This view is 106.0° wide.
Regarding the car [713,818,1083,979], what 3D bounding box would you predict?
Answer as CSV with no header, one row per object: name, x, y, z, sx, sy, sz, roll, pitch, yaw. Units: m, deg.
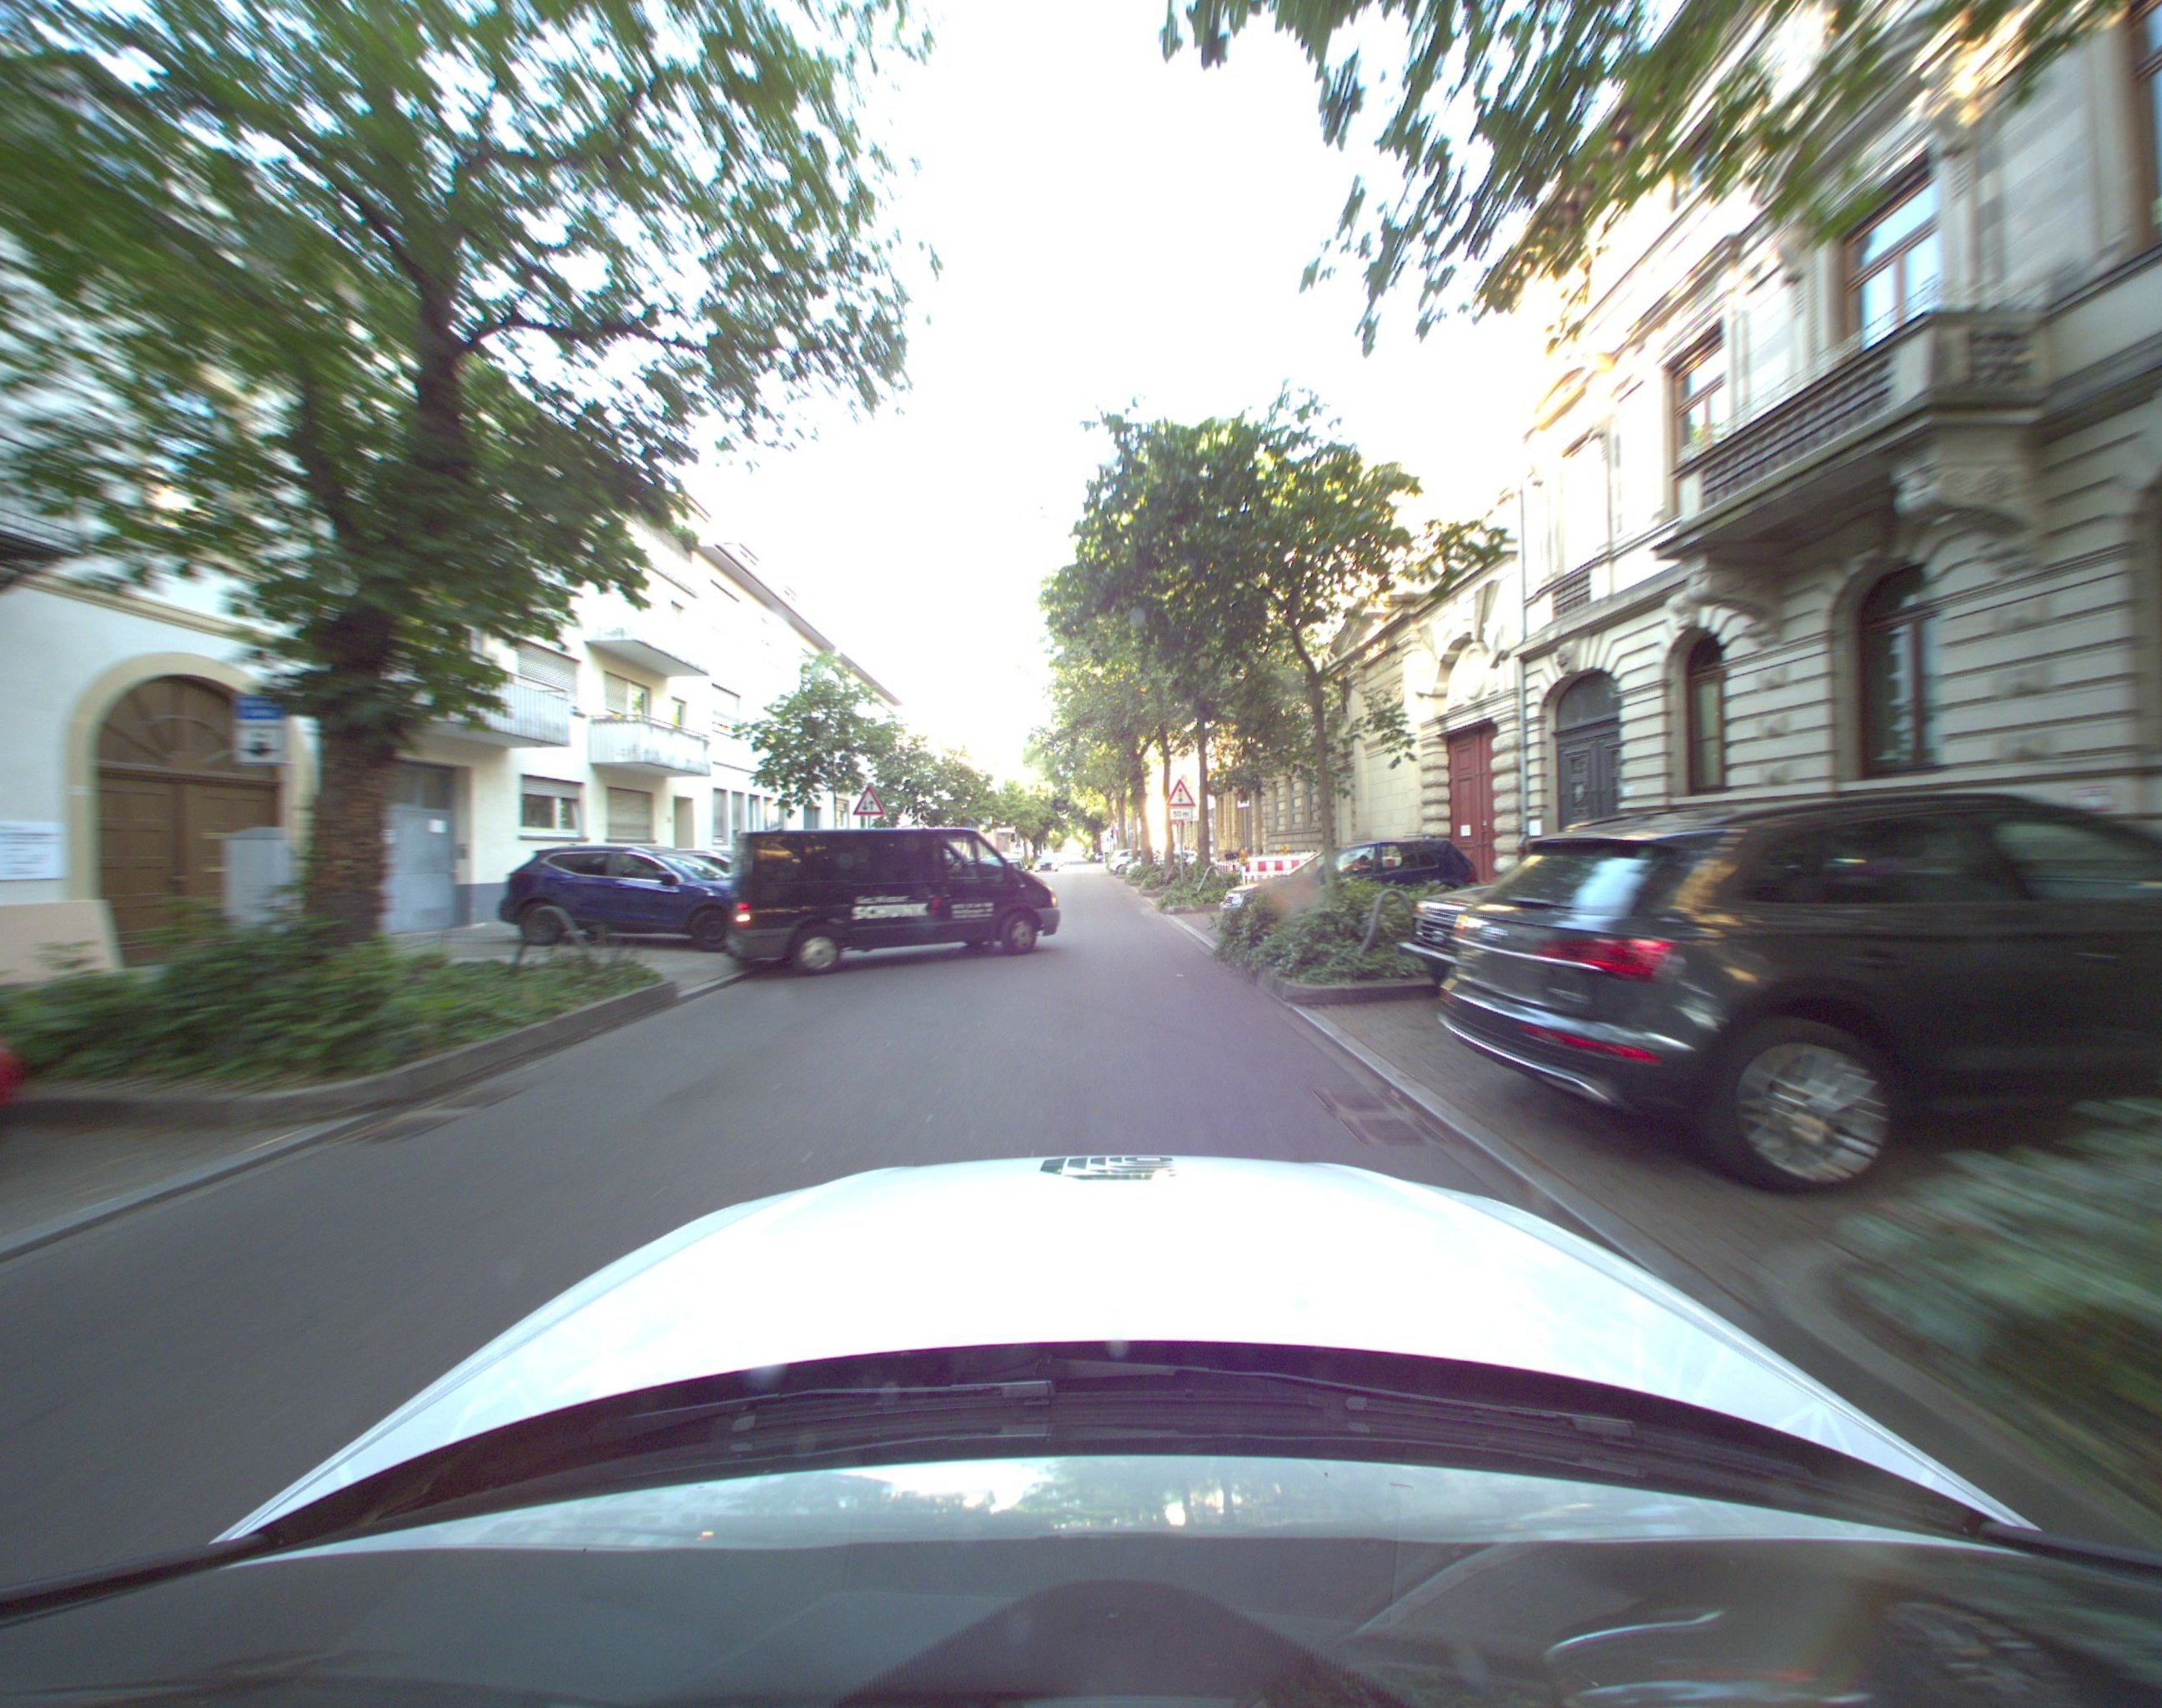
car,-2.695,0.501,12.273,5.020,1.990,2.169,-1,0,-29

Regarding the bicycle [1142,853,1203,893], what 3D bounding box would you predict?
bicycle,3.126,0.639,27.949,2.041,1.360,0.508,0,0,-3

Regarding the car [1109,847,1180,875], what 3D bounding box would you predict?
car,3.830,0.417,49.718,4.207,1.560,1.972,-2,1,2

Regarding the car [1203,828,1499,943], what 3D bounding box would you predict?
car,4.302,0.485,13.459,4.211,1.481,1.854,-4,0,-1

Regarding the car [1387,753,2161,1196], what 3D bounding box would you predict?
car,4.263,0.457,4.396,4.426,1.717,1.967,-3,-1,-1

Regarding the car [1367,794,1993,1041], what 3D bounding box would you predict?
car,4.739,0.453,6.880,3.995,1.687,1.764,-2,0,-1

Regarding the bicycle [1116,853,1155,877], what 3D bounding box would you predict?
bicycle,3.025,0.611,45.055,2.022,1.204,0.486,-3,0,-13

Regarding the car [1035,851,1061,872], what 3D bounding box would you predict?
car,-2.642,0.602,66.310,1.871,1.549,4.274,-2,0,0

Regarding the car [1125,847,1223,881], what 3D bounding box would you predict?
car,4.435,0.469,39.450,4.567,1.437,1.926,-2,0,1

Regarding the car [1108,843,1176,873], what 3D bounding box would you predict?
car,4.281,0.258,57.336,4.530,1.914,1.948,-2,0,-3

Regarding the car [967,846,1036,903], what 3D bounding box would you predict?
car,-2.516,0.611,26.846,1.872,1.640,4.643,-2,0,-1

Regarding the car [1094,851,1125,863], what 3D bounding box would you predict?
car,4.027,0.398,115.906,4.180,1.480,1.851,-3,0,-1

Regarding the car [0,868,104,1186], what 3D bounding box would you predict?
car,-7.422,0.798,3.428,4.341,1.539,1.771,1,-1,-1

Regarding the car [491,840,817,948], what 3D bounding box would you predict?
car,-6.923,0.622,13.585,4.341,1.573,1.930,2,0,-1

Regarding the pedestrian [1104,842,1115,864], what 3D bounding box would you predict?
pedestrian,2.781,-0.058,79.483,1.040,2.146,1.063,0,-1,0

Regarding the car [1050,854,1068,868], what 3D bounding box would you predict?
car,-2.483,0.757,92.716,1.872,1.549,4.272,-2,0,-1
